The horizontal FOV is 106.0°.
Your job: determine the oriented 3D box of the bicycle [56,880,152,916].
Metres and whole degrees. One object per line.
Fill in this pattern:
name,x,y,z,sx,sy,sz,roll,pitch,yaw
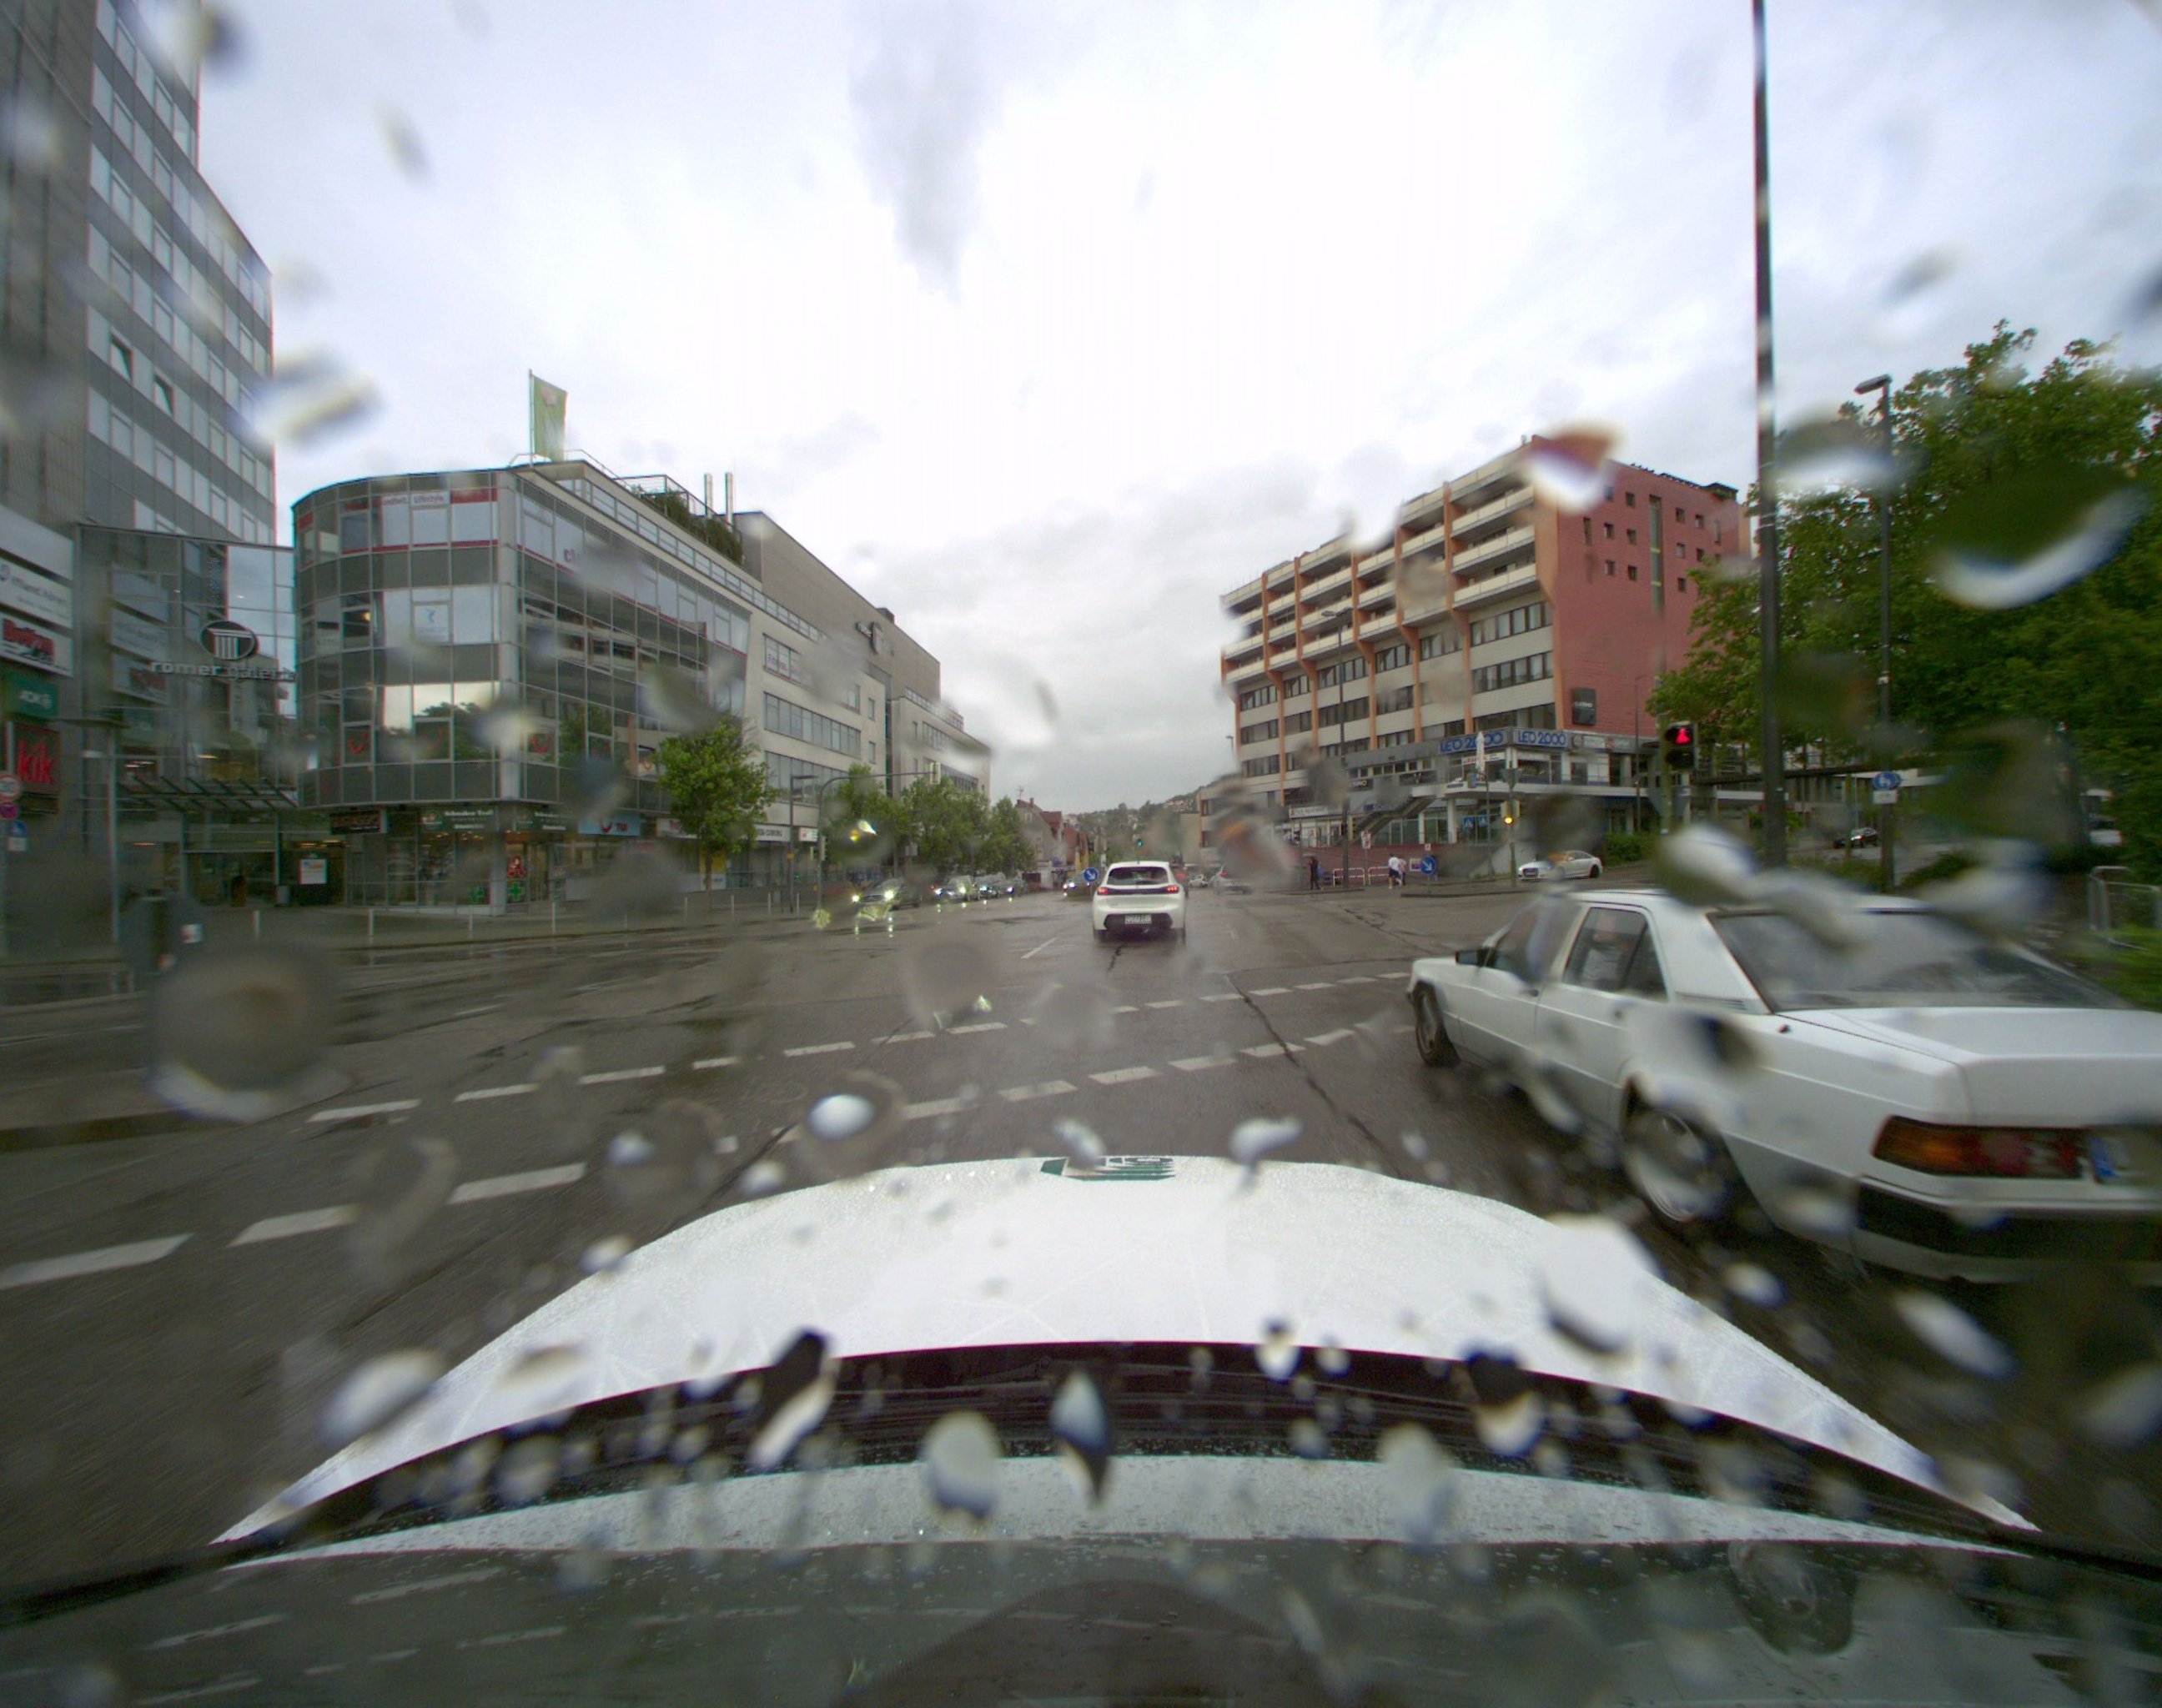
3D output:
bicycle,-37.703,1.683,31.460,2.285,1.247,0.671,-1,-1,-27

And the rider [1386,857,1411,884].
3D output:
rider,16.596,0.845,42.588,0.918,1.284,1.092,-4,0,5

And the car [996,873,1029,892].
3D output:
car,-5.242,2.185,62.957,1.717,1.388,4.606,-3,-2,5

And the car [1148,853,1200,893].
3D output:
car,4.015,0.800,34.809,1.804,1.530,3.824,-4,-2,11

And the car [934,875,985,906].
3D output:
car,-7.306,2.173,49.451,1.866,1.594,4.532,-5,-2,6

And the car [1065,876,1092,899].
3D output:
car,-0.172,2.911,70.448,1.985,1.824,4.301,-4,-3,3

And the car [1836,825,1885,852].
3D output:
car,62.045,-1.258,64.843,4.016,2.014,1.978,-1,-2,-35

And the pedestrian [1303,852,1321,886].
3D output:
pedestrian,10.944,0.714,38.602,0.703,1.607,0.657,-3,-2,9

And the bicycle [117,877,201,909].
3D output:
bicycle,-39.599,1.668,35.024,2.285,1.247,0.671,-1,-1,-27

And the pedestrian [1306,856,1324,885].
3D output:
pedestrian,11.301,0.788,39.313,0.703,1.346,0.657,-2,-2,9

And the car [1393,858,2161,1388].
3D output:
car,3.191,0.754,4.366,1.627,1.448,4.272,0,0,3

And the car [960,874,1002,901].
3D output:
car,-6.876,2.303,56.649,1.765,1.594,4.596,-5,-2,6

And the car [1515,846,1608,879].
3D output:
car,23.323,0.402,39.492,4.806,1.406,1.794,-2,-2,-32

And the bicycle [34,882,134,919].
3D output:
bicycle,-37.446,1.732,30.636,2.285,1.247,0.671,-1,-1,-27

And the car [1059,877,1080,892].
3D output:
car,-1.200,3.265,87.752,1.717,1.388,4.460,-3,-2,5

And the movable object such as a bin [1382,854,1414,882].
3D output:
movable object such as a bin,16.584,0.746,42.617,1.124,1.332,1.456,-4,-3,5

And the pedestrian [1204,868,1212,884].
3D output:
pedestrian,14.293,2.511,91.799,0.643,1.823,0.577,-2,-2,-27

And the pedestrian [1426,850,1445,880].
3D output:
pedestrian,19.561,0.605,44.935,0.788,1.668,0.935,-2,-1,16

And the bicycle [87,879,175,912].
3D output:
bicycle,-39.254,1.693,33.696,2.285,1.247,0.671,-1,-1,-27

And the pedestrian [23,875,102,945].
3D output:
pedestrian,-27.488,1.498,22.005,0.841,1.819,1.026,-2,-1,7

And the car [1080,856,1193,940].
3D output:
car,1.226,0.782,16.176,1.860,1.462,3.883,0,0,10

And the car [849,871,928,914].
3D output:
car,-8.358,1.629,35.849,1.911,1.632,4.909,-1,0,5

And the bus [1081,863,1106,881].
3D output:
bus,2.103,2.886,132.380,2.923,2.783,9.521,-3,-1,6

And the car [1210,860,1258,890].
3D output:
car,7.495,1.020,40.137,1.903,1.400,3.461,-1,-1,4

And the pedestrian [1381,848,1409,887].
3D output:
pedestrian,14.174,0.597,36.813,0.825,1.691,1.129,-1,-1,3

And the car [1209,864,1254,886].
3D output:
car,16.191,2.240,87.806,2.006,2.226,4.927,-2,-1,-30
